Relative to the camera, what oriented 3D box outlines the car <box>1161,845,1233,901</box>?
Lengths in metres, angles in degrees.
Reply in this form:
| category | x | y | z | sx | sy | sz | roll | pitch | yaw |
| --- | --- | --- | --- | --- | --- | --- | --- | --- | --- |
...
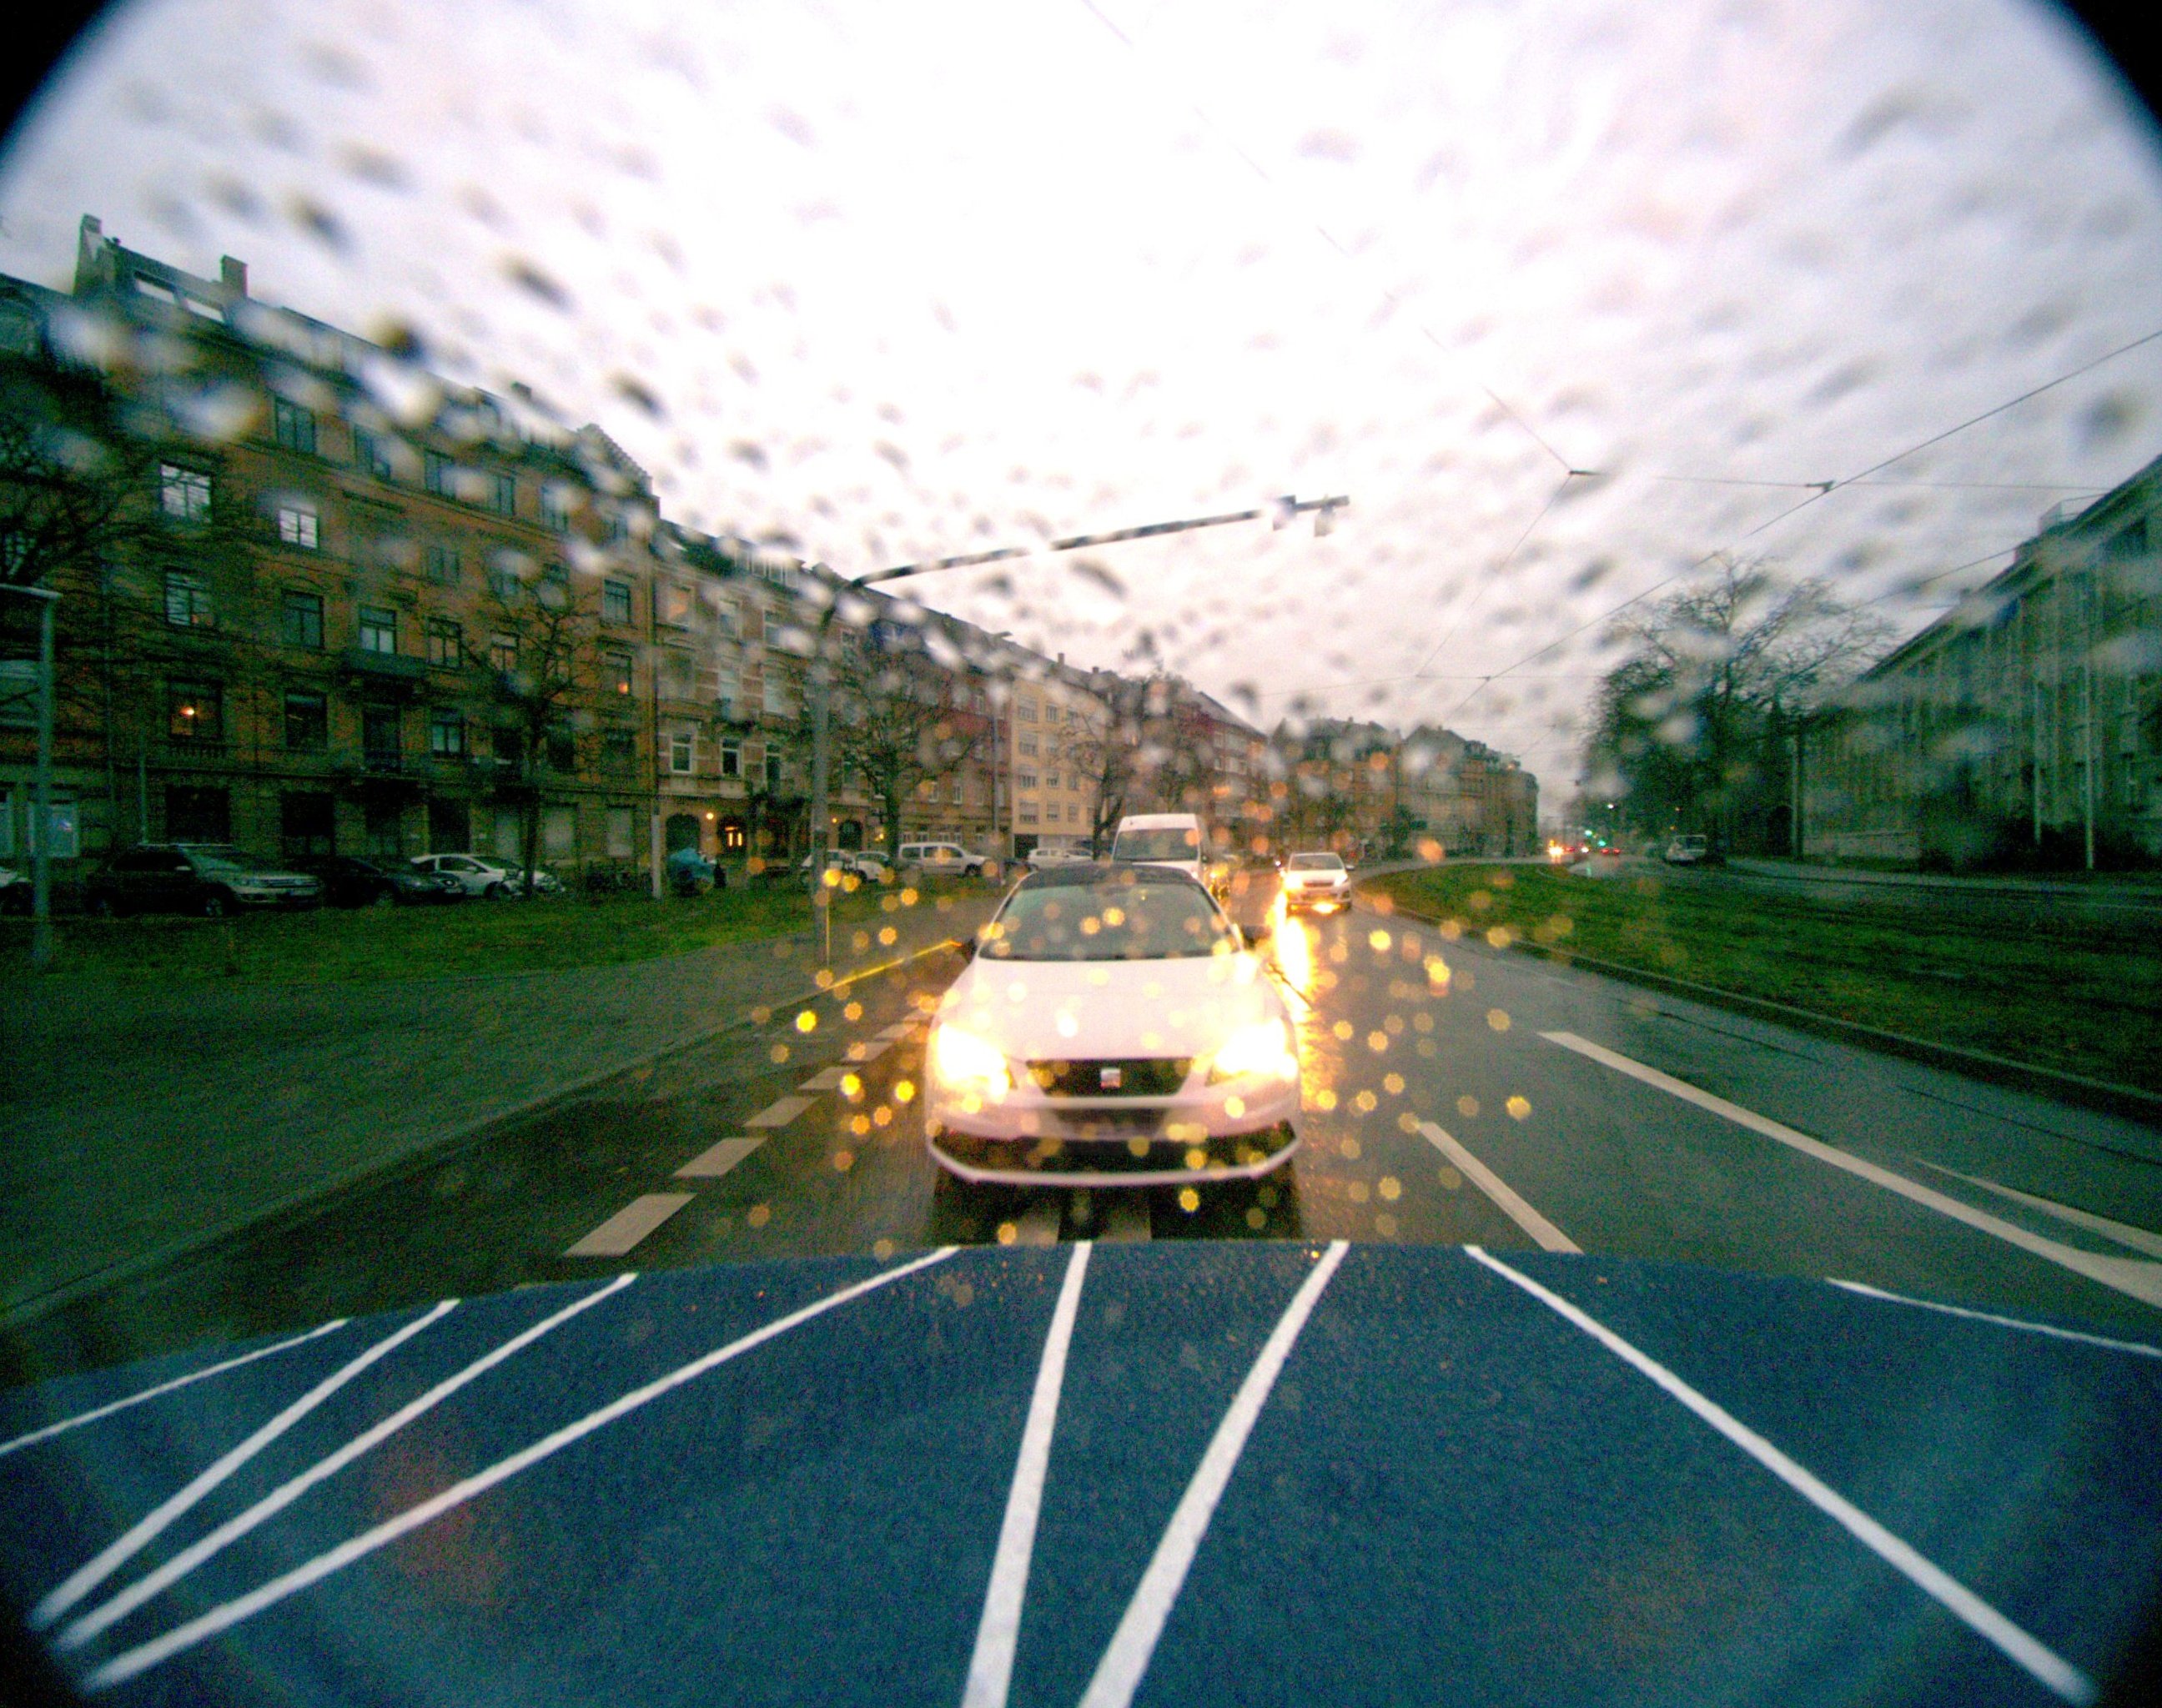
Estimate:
| category | x | y | z | sx | sy | sz | roll | pitch | yaw |
| --- | --- | --- | --- | --- | --- | --- | --- | --- | --- |
| car | 3.914 | 0.564 | 25.159 | 1.874 | 1.679 | 4.175 | -1 | 1 | 15 |

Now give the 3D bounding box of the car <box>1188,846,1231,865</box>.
| category | x | y | z | sx | sy | sz | roll | pitch | yaw |
| --- | --- | --- | --- | --- | --- | --- | --- | --- | --- |
| car | 10.149 | 0.117 | 59.968 | 3.181 | 1.420 | 1.429 | -1 | 1 | 13 |

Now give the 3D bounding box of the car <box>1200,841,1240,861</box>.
| category | x | y | z | sx | sy | sz | roll | pitch | yaw |
| --- | --- | --- | --- | --- | --- | --- | --- | --- | --- |
| car | 11.438 | -0.249 | 62.442 | 3.181 | 1.615 | 1.429 | -1 | 1 | 13 |

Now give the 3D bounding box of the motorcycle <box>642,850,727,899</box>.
| category | x | y | z | sx | sy | sz | roll | pitch | yaw |
| --- | --- | --- | --- | --- | --- | --- | --- | --- | --- |
| motorcycle | -11.999 | 0.592 | 22.974 | 2.352 | 1.338 | 0.886 | 2 | 2 | 19 |

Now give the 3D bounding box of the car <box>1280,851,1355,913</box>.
| category | x | y | z | sx | sy | sz | roll | pitch | yaw |
| --- | --- | --- | --- | --- | --- | --- | --- | --- | --- |
| car | 6.146 | 0.687 | 19.819 | 1.687 | 1.422 | 3.350 | -1 | 1 | 17 |

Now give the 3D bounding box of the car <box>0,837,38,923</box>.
| category | x | y | z | sx | sy | sz | roll | pitch | yaw |
| --- | --- | --- | --- | --- | --- | --- | --- | --- | --- |
| car | -29.118 | 0.683 | 18.234 | 1.994 | 2.176 | 4.670 | 0 | 1 | 33 |

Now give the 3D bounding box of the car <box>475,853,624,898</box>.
| category | x | y | z | sx | sy | sz | roll | pitch | yaw |
| --- | --- | --- | --- | --- | --- | --- | --- | --- | --- |
| car | -16.705 | 0.660 | 23.989 | 3.684 | 1.298 | 1.521 | -1 | 1 | 4 |

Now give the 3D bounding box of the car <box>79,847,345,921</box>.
| category | x | y | z | sx | sy | sz | roll | pitch | yaw |
| --- | --- | --- | --- | --- | --- | --- | --- | --- | --- |
| car | -19.487 | 0.643 | 17.146 | 4.152 | 1.560 | 1.742 | -1 | 1 | 4 |

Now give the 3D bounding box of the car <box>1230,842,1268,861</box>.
| category | x | y | z | sx | sy | sz | roll | pitch | yaw |
| --- | --- | --- | --- | --- | --- | --- | --- | --- | --- |
| car | 14.790 | -0.239 | 66.891 | 3.181 | 1.615 | 1.447 | -1 | 1 | 13 |

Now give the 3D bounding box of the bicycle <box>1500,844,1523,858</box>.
| category | x | y | z | sx | sy | sz | roll | pitch | yaw |
| --- | --- | --- | --- | --- | --- | --- | --- | --- | --- |
| bicycle | 53.784 | -0.356 | 94.839 | 2.446 | 1.697 | 0.847 | -2 | 2 | 31 |

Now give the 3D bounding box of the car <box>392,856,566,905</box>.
| category | x | y | z | sx | sy | sz | roll | pitch | yaw |
| --- | --- | --- | --- | --- | --- | --- | --- | --- | --- |
| car | -16.977 | 0.723 | 21.531 | 3.684 | 1.298 | 1.669 | -1 | 1 | 4 |

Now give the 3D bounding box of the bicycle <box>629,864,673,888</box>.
| category | x | y | z | sx | sy | sz | roll | pitch | yaw |
| --- | --- | --- | --- | --- | --- | --- | --- | --- | --- |
| bicycle | -15.306 | 0.773 | 27.024 | 1.791 | 0.813 | 0.395 | 1 | 2 | 25 |

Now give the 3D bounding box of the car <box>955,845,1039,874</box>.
| category | x | y | z | sx | sy | sz | roll | pitch | yaw |
| --- | --- | --- | --- | --- | --- | --- | --- | --- | --- |
| car | -4.301 | 0.291 | 39.094 | 3.958 | 1.436 | 1.702 | -1 | 1 | 10 |

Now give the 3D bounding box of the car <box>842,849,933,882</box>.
| category | x | y | z | sx | sy | sz | roll | pitch | yaw |
| --- | --- | --- | --- | --- | --- | --- | --- | --- | --- |
| car | -8.762 | 0.514 | 34.513 | 3.684 | 1.428 | 1.521 | -1 | 1 | 5 |

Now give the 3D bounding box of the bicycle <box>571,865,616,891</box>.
| category | x | y | z | sx | sy | sz | roll | pitch | yaw |
| --- | --- | --- | --- | --- | --- | --- | --- | --- | --- |
| bicycle | -16.330 | 0.802 | 25.449 | 1.790 | 0.790 | 0.447 | 2 | 2 | 28 |

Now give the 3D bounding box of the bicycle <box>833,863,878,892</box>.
| category | x | y | z | sx | sy | sz | roll | pitch | yaw |
| --- | --- | --- | --- | --- | --- | --- | --- | --- | --- |
| bicycle | -7.837 | 0.791 | 26.383 | 1.790 | 0.926 | 0.447 | 2 | 2 | 33 |

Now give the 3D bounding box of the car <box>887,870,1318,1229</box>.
| category | x | y | z | sx | sy | sz | roll | pitch | yaw |
| --- | --- | --- | --- | --- | --- | --- | --- | --- | --- |
| car | 0.156 | 0.889 | 5.368 | 1.787 | 1.370 | 4.223 | -2 | 0 | 2 |

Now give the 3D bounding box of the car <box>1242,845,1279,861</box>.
| category | x | y | z | sx | sy | sz | roll | pitch | yaw |
| --- | --- | --- | --- | --- | --- | --- | --- | --- | --- |
| car | 16.414 | -0.132 | 69.459 | 3.181 | 1.405 | 1.383 | -1 | 1 | 15 |

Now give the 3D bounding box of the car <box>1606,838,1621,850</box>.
| category | x | y | z | sx | sy | sz | roll | pitch | yaw |
| --- | --- | --- | --- | --- | --- | --- | --- | --- | --- |
| car | 71.873 | -1.329 | 102.558 | 1.686 | 1.630 | 3.654 | 0 | 1 | 34 |

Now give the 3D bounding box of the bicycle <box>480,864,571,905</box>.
| category | x | y | z | sx | sy | sz | roll | pitch | yaw |
| --- | --- | --- | --- | --- | --- | --- | --- | --- | --- |
| bicycle | -14.511 | 0.775 | 19.894 | 1.911 | 1.013 | 0.535 | 0 | 2 | -36 |

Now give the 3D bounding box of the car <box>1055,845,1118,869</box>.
| category | x | y | z | sx | sy | sz | roll | pitch | yaw |
| --- | --- | --- | --- | --- | --- | --- | --- | --- | --- |
| car | 0.338 | 0.188 | 46.239 | 3.609 | 1.362 | 1.619 | -1 | 1 | 9 |

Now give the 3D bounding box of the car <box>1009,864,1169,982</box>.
| category | x | y | z | sx | sy | sz | roll | pitch | yaw |
| --- | --- | --- | --- | --- | --- | --- | --- | --- | --- |
| car | 0.307 | 0.904 | 11.496 | 1.722 | 1.380 | 3.824 | -1 | 1 | 11 |

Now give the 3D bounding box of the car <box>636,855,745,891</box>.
| category | x | y | z | sx | sy | sz | roll | pitch | yaw |
| --- | --- | --- | --- | --- | --- | --- | --- | --- | --- |
| car | -14.663 | 0.699 | 28.617 | 3.297 | 1.298 | 1.521 | -1 | 1 | 5 |

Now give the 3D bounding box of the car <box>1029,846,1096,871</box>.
| category | x | y | z | sx | sy | sz | roll | pitch | yaw |
| --- | --- | --- | --- | --- | --- | --- | --- | --- | --- |
| car | -1.031 | 0.249 | 43.994 | 3.609 | 1.362 | 1.619 | -1 | 1 | 9 |

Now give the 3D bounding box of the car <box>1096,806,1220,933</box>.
| category | x | y | z | sx | sy | sz | roll | pitch | yaw |
| --- | --- | --- | --- | --- | --- | --- | --- | --- | --- |
| car | 2.003 | 0.285 | 17.683 | 2.239 | 2.448 | 5.674 | -1 | 1 | 12 |

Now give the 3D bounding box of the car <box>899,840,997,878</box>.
| category | x | y | z | sx | sy | sz | roll | pitch | yaw |
| --- | --- | --- | --- | --- | --- | --- | --- | --- | --- |
| car | -6.419 | 0.227 | 36.852 | 4.340 | 1.758 | 1.782 | -1 | 1 | 4 |

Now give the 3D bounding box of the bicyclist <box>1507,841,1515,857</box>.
| category | x | y | z | sx | sy | sz | roll | pitch | yaw |
| --- | --- | --- | --- | --- | --- | --- | --- | --- | --- |
| bicyclist | 53.662 | -0.642 | 94.884 | 0.777 | 2.002 | 0.831 | -1 | 2 | 31 |

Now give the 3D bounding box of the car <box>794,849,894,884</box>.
| category | x | y | z | sx | sy | sz | roll | pitch | yaw |
| --- | --- | --- | --- | --- | --- | --- | --- | --- | --- |
| car | -9.934 | 0.501 | 32.027 | 3.684 | 1.391 | 1.521 | -1 | 1 | 5 |

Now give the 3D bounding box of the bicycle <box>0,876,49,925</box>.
| category | x | y | z | sx | sy | sz | roll | pitch | yaw |
| --- | --- | --- | --- | --- | --- | --- | --- | --- | --- |
| bicycle | -22.127 | 0.928 | 15.546 | 1.792 | 0.926 | 0.446 | 1 | 1 | 11 |

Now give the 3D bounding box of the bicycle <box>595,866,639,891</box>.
| category | x | y | z | sx | sy | sz | roll | pitch | yaw |
| --- | --- | --- | --- | --- | --- | --- | --- | --- | --- |
| bicycle | -15.829 | 0.827 | 25.932 | 1.790 | 0.773 | 0.447 | 2 | 2 | 28 |

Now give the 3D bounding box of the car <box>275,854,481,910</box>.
| category | x | y | z | sx | sy | sz | roll | pitch | yaw |
| --- | --- | --- | --- | --- | --- | --- | --- | --- | --- |
| car | -17.752 | 0.687 | 19.298 | 3.684 | 1.298 | 1.742 | -1 | 1 | 4 |

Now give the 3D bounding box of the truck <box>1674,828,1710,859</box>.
| category | x | y | z | sx | sy | sz | roll | pitch | yaw |
| --- | --- | --- | --- | --- | --- | --- | --- | --- | --- |
| truck | 41.859 | -0.736 | 52.112 | 1.833 | 2.032 | 4.008 | 0 | 1 | 37 |

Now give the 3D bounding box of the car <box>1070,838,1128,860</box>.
| category | x | y | z | sx | sy | sz | roll | pitch | yaw |
| --- | --- | --- | --- | --- | --- | --- | --- | --- | --- |
| car | 1.177 | -0.335 | 48.751 | 3.611 | 1.362 | 1.618 | -1 | 1 | 3 |
